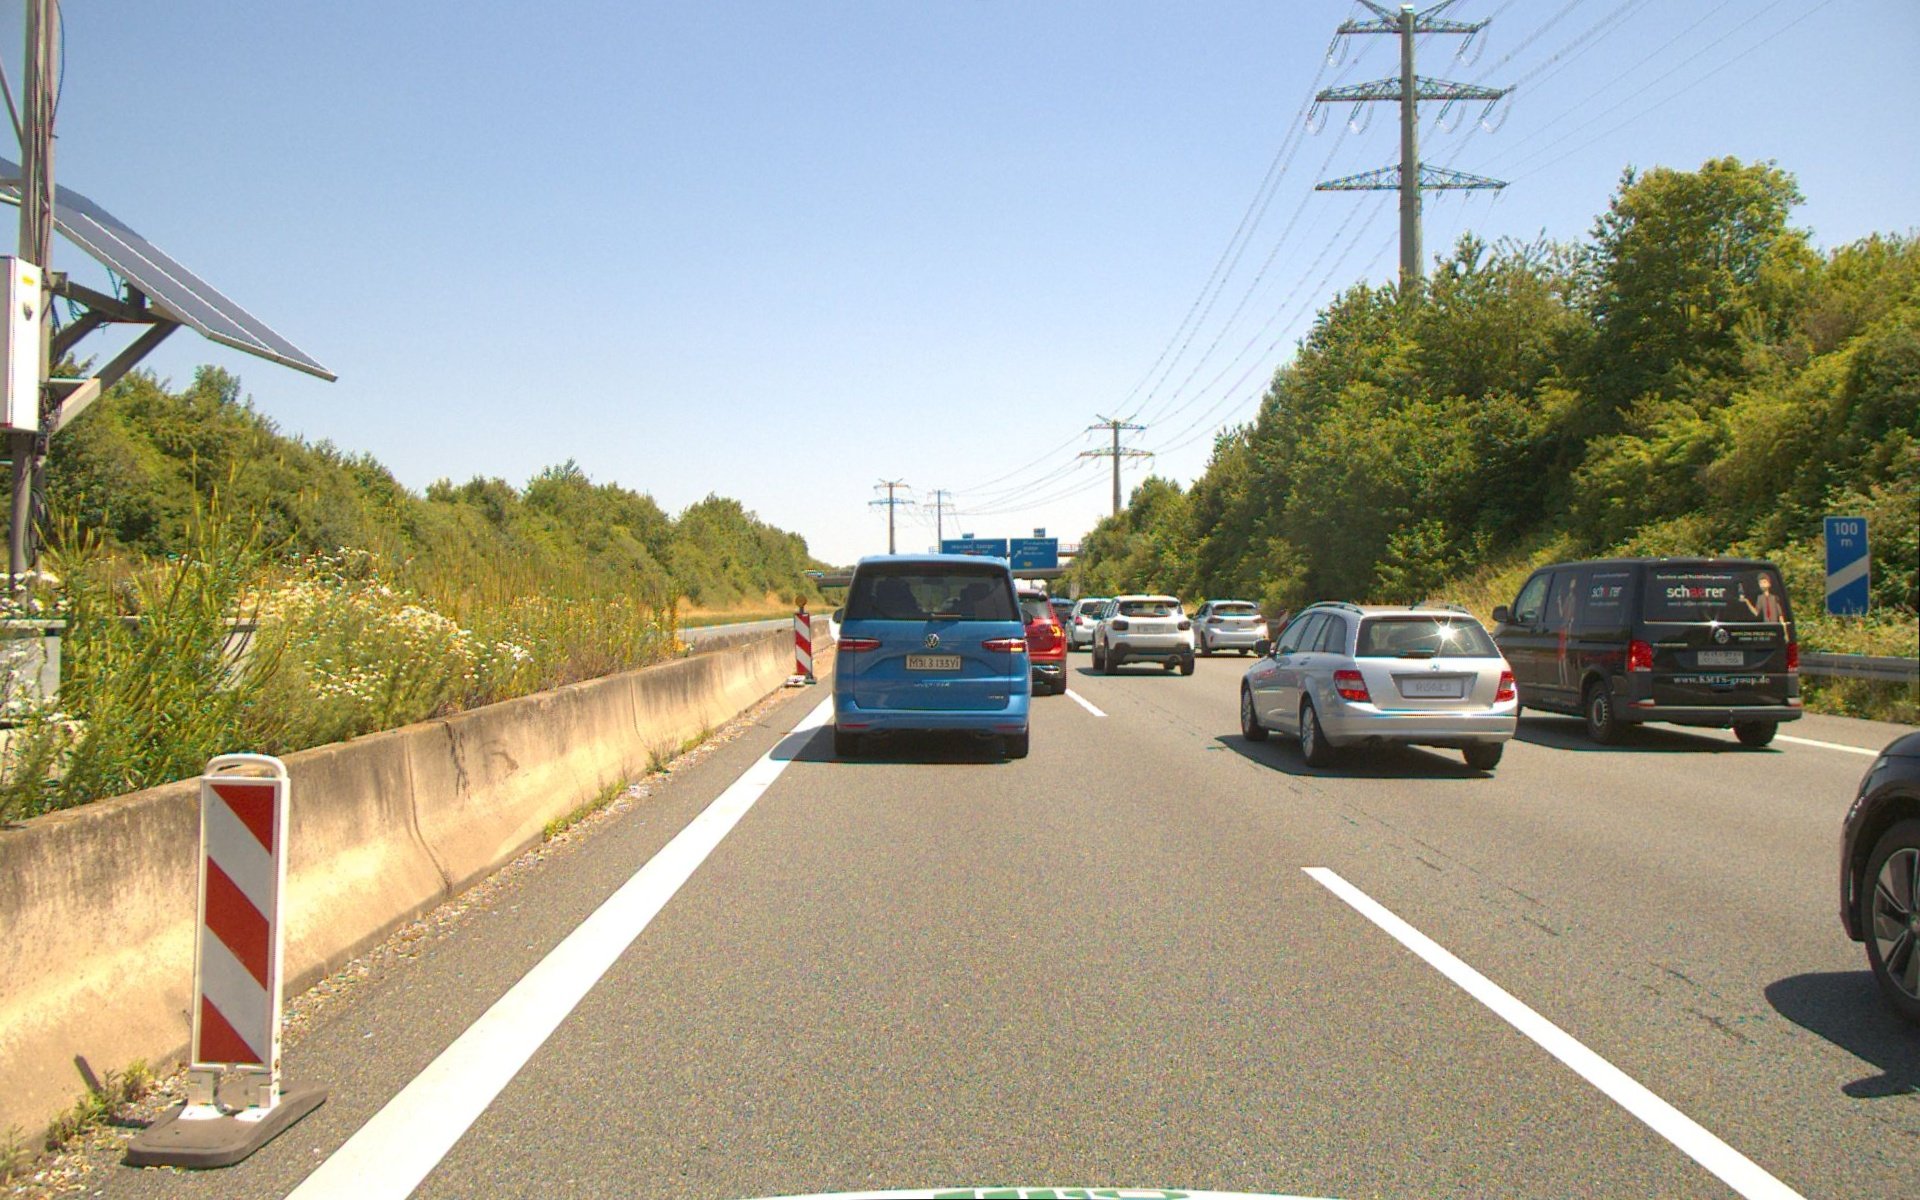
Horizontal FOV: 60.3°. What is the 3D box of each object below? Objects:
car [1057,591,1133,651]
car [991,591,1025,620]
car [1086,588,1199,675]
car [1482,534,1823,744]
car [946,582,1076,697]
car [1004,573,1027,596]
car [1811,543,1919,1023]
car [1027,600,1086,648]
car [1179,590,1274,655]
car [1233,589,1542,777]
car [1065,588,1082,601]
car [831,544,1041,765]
[{"bbox_3d":[3.845,0.592,47.755,1.761,1.622,4.226,1,0,-1],"label":"car"},{"bbox_3d":[2.765,0.295,95.573,1.761,1.622,4.226,1,0,-1],"label":"car"},{"bbox_3d":[3.645,0.605,33.678,1.761,1.622,4.226,1,0,-1],"label":"car"},{"bbox_3d":[7.539,0.396,18.496,1.762,2.049,4.222,1,0,-5],"label":"car"},{"bbox_3d":[0.744,0.596,26.919,1.836,1.700,4.358,1,0,-2],"label":"car"},{"bbox_3d":[6.308,-1.725,188.196,2.329,2.470,4.226,1,0,-1],"label":"car"},{"bbox_3d":[4.255,0.651,4.328,1.666,1.684,4.428,1,0,-2],"label":"car"},{"bbox_3d":[3.372,0.829,58.351,1.761,1.622,4.226,1,0,-1],"label":"car"},{"bbox_3d":[7.037,0.585,44.032,1.761,1.622,4.226,1,0,-1],"label":"car"},{"bbox_3d":[3.933,0.703,15.989,1.735,1.544,4.358,1,0,-2],"label":"car"},{"bbox_3d":[14.981,-0.753,218.907,1.836,1.700,4.358,1,0,-2],"label":"car"},{"bbox_3d":[-0.271,0.492,16.916,1.836,1.945,4.358,1,0,-2],"label":"car"}]
